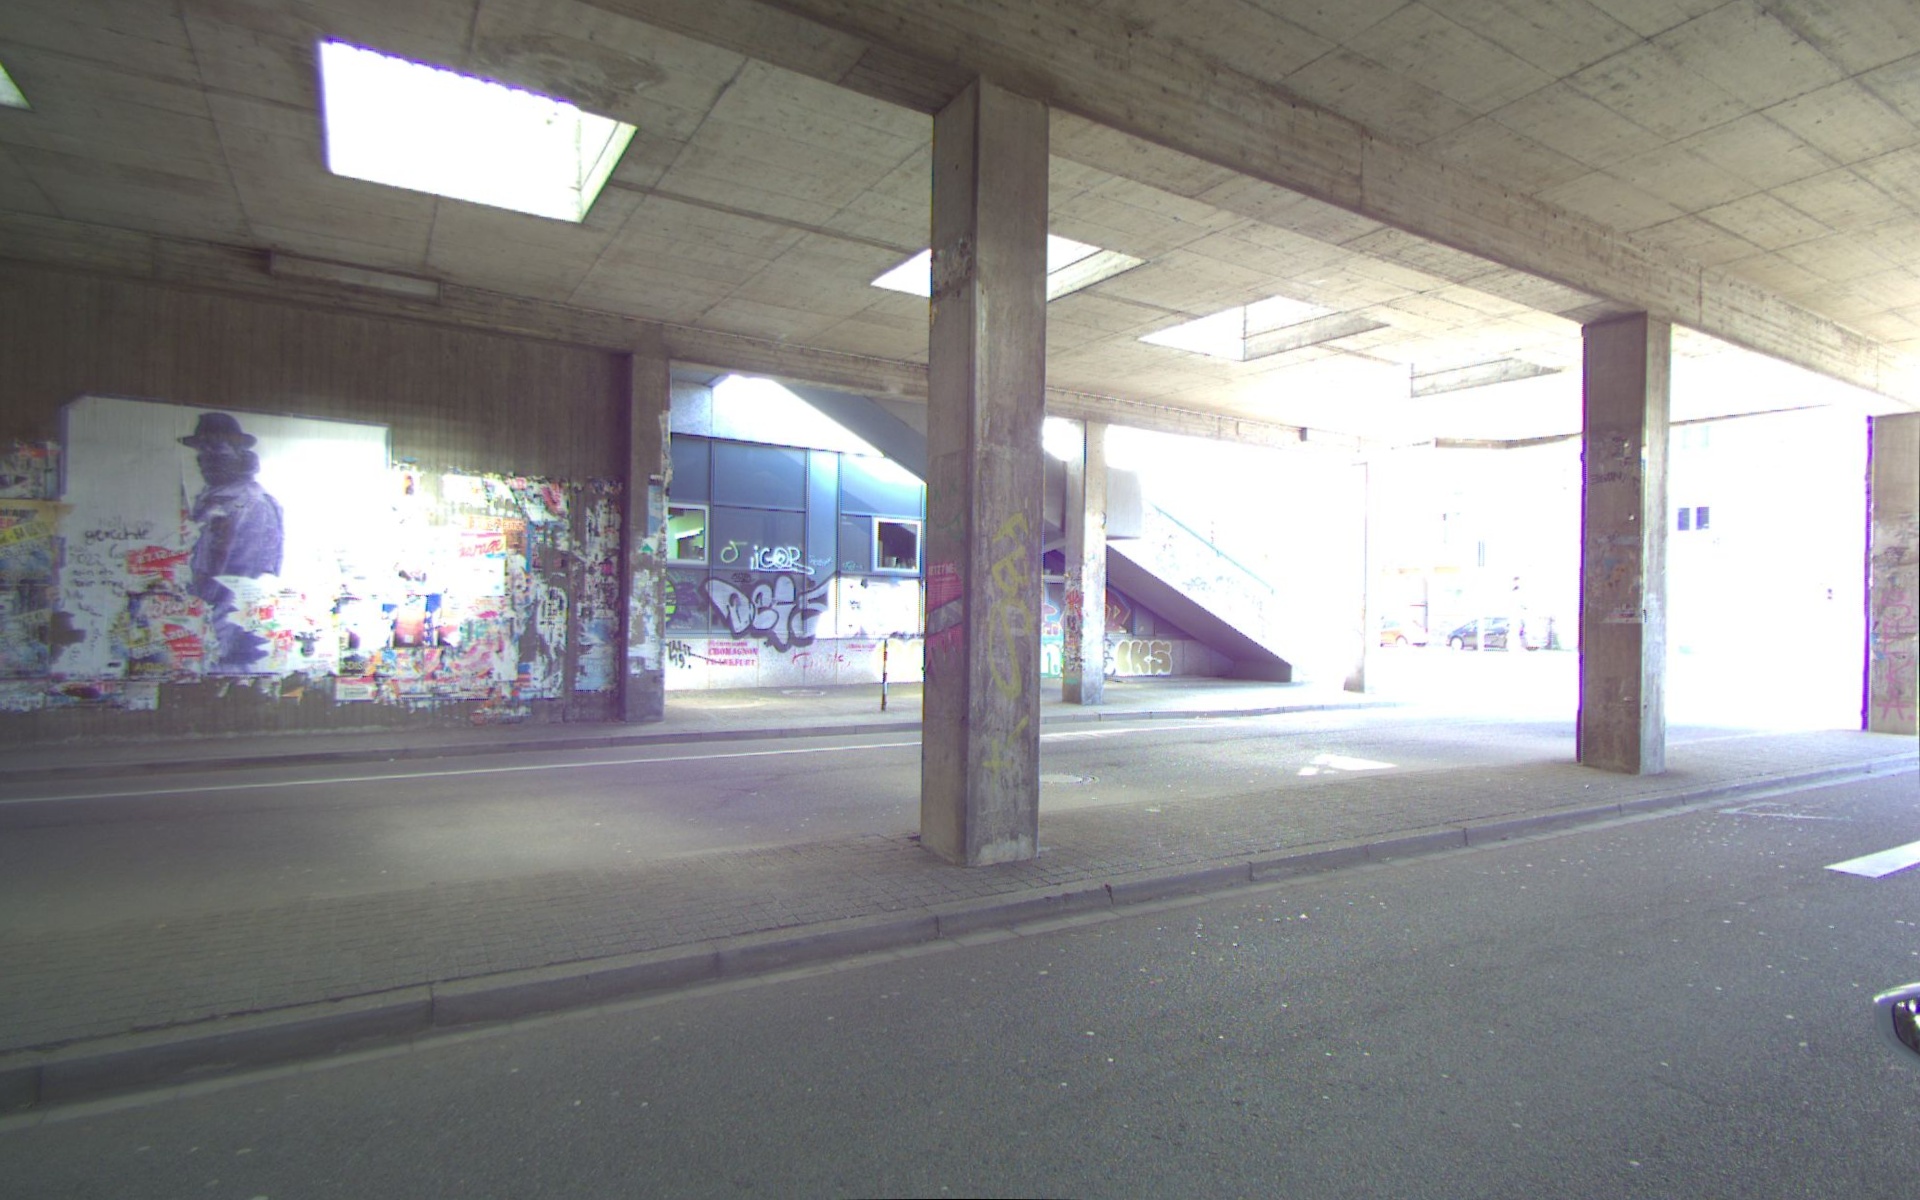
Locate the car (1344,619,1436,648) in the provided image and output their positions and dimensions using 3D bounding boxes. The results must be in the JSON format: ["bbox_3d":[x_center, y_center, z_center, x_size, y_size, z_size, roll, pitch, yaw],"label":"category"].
[{"bbox_3d":[22.495,1.741,52.675,2.163,1.392,3.971,1,-1,-28],"label":"car"}]

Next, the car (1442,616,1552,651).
[{"bbox_3d":[25.416,1.558,47.664,2.240,1.571,4.111,1,-1,-29],"label":"car"}]
